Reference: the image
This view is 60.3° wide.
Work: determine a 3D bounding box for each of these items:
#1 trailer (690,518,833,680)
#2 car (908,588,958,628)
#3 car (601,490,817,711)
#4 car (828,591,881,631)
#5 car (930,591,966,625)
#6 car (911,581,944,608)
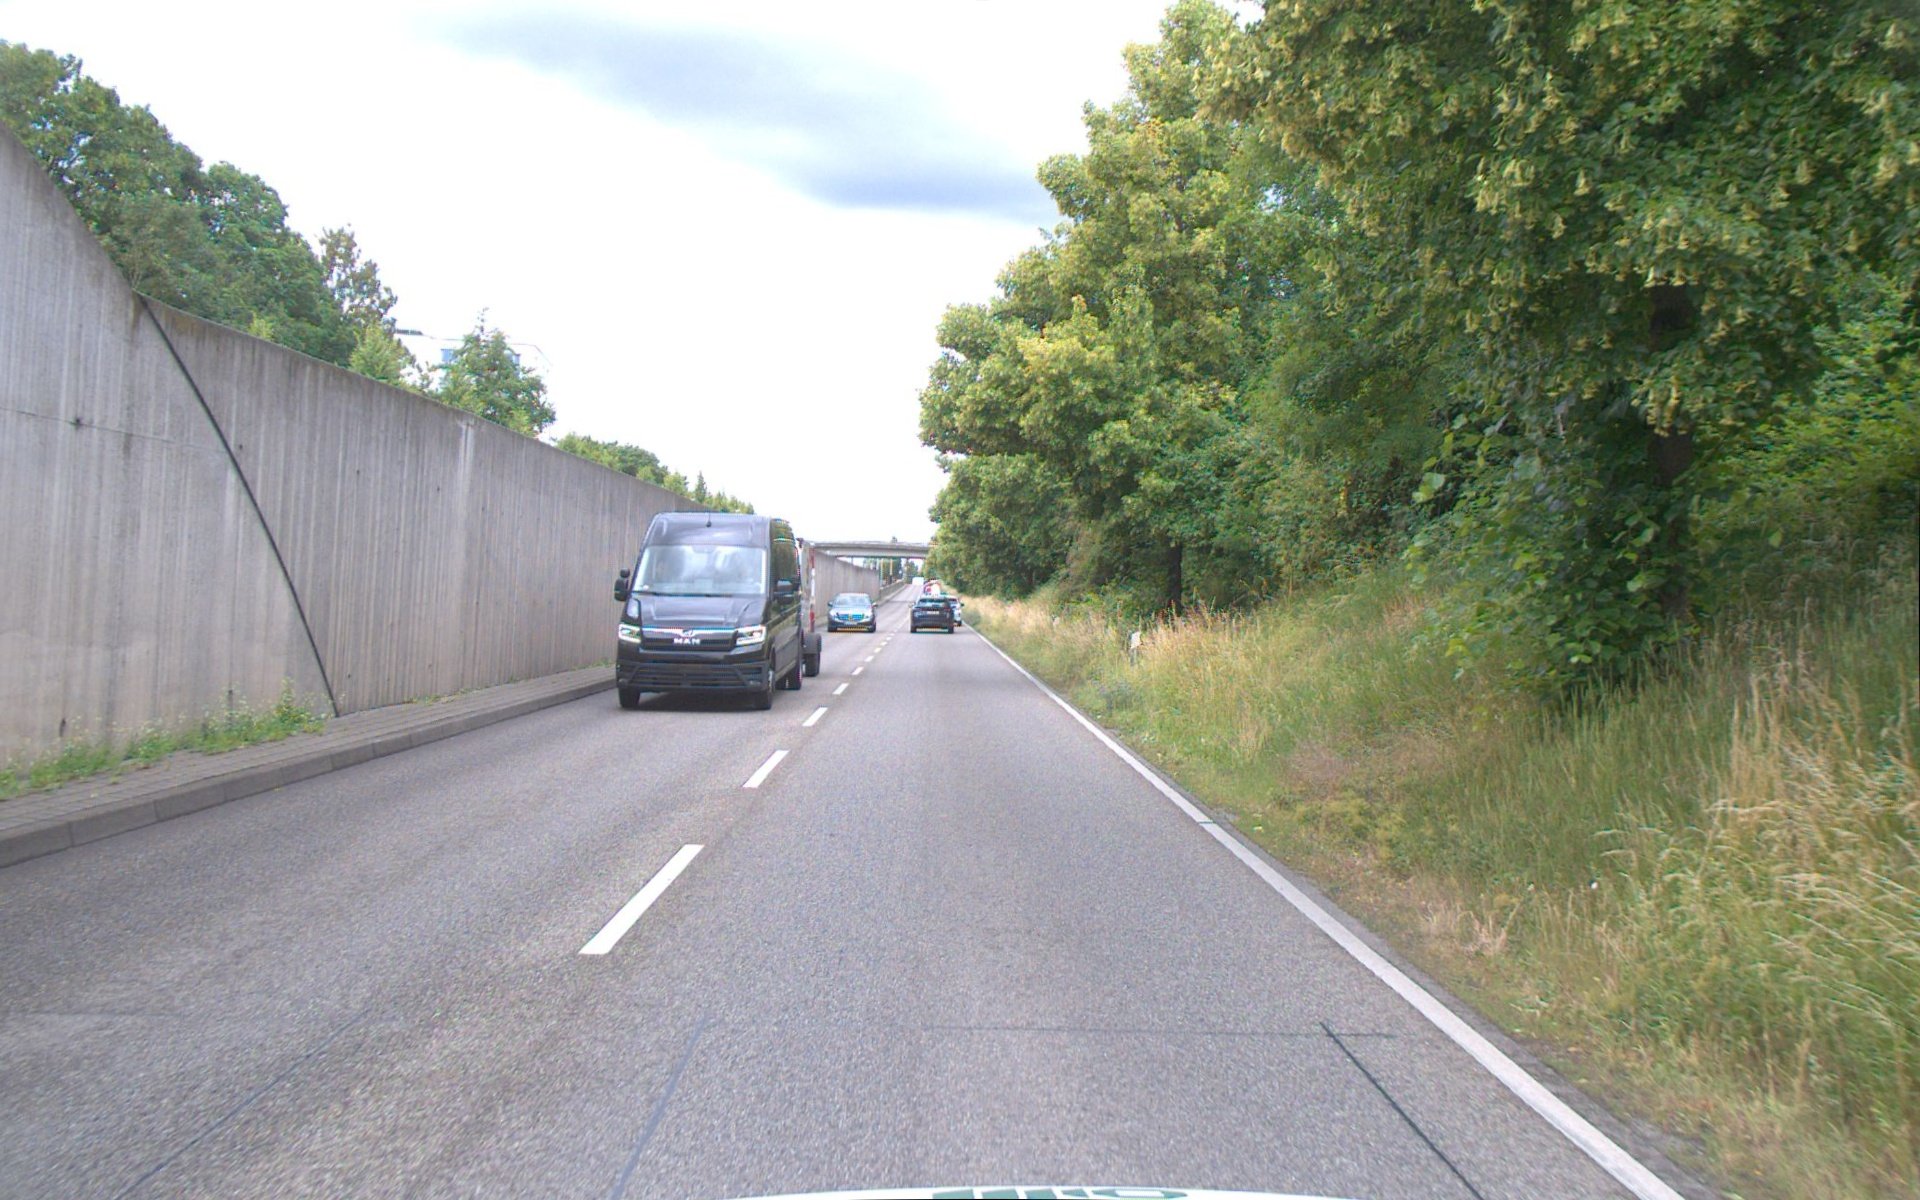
[{"bbox_3d":[-3.485,-0.024,29.852,2.067,2.676,4.371,1,0,-1],"label":"trailer"},{"bbox_3d":[-1.108,0.340,66.101,1.720,1.550,4.032,-1,-1,-5],"label":"car"},{"bbox_3d":[-3.388,-0.003,23.964,2.067,2.676,7.415,1,0,-1],"label":"car"},{"bbox_3d":[-4.138,0.402,65.683,1.854,1.509,4.822,1,0,-1],"label":"car"},{"bbox_3d":[-0.577,0.440,82.608,1.718,1.550,4.036,-1,-2,0],"label":"car"},{"bbox_3d":[-2.048,-0.344,102.364,1.830,1.516,4.254,4,0,-3],"label":"car"}]
